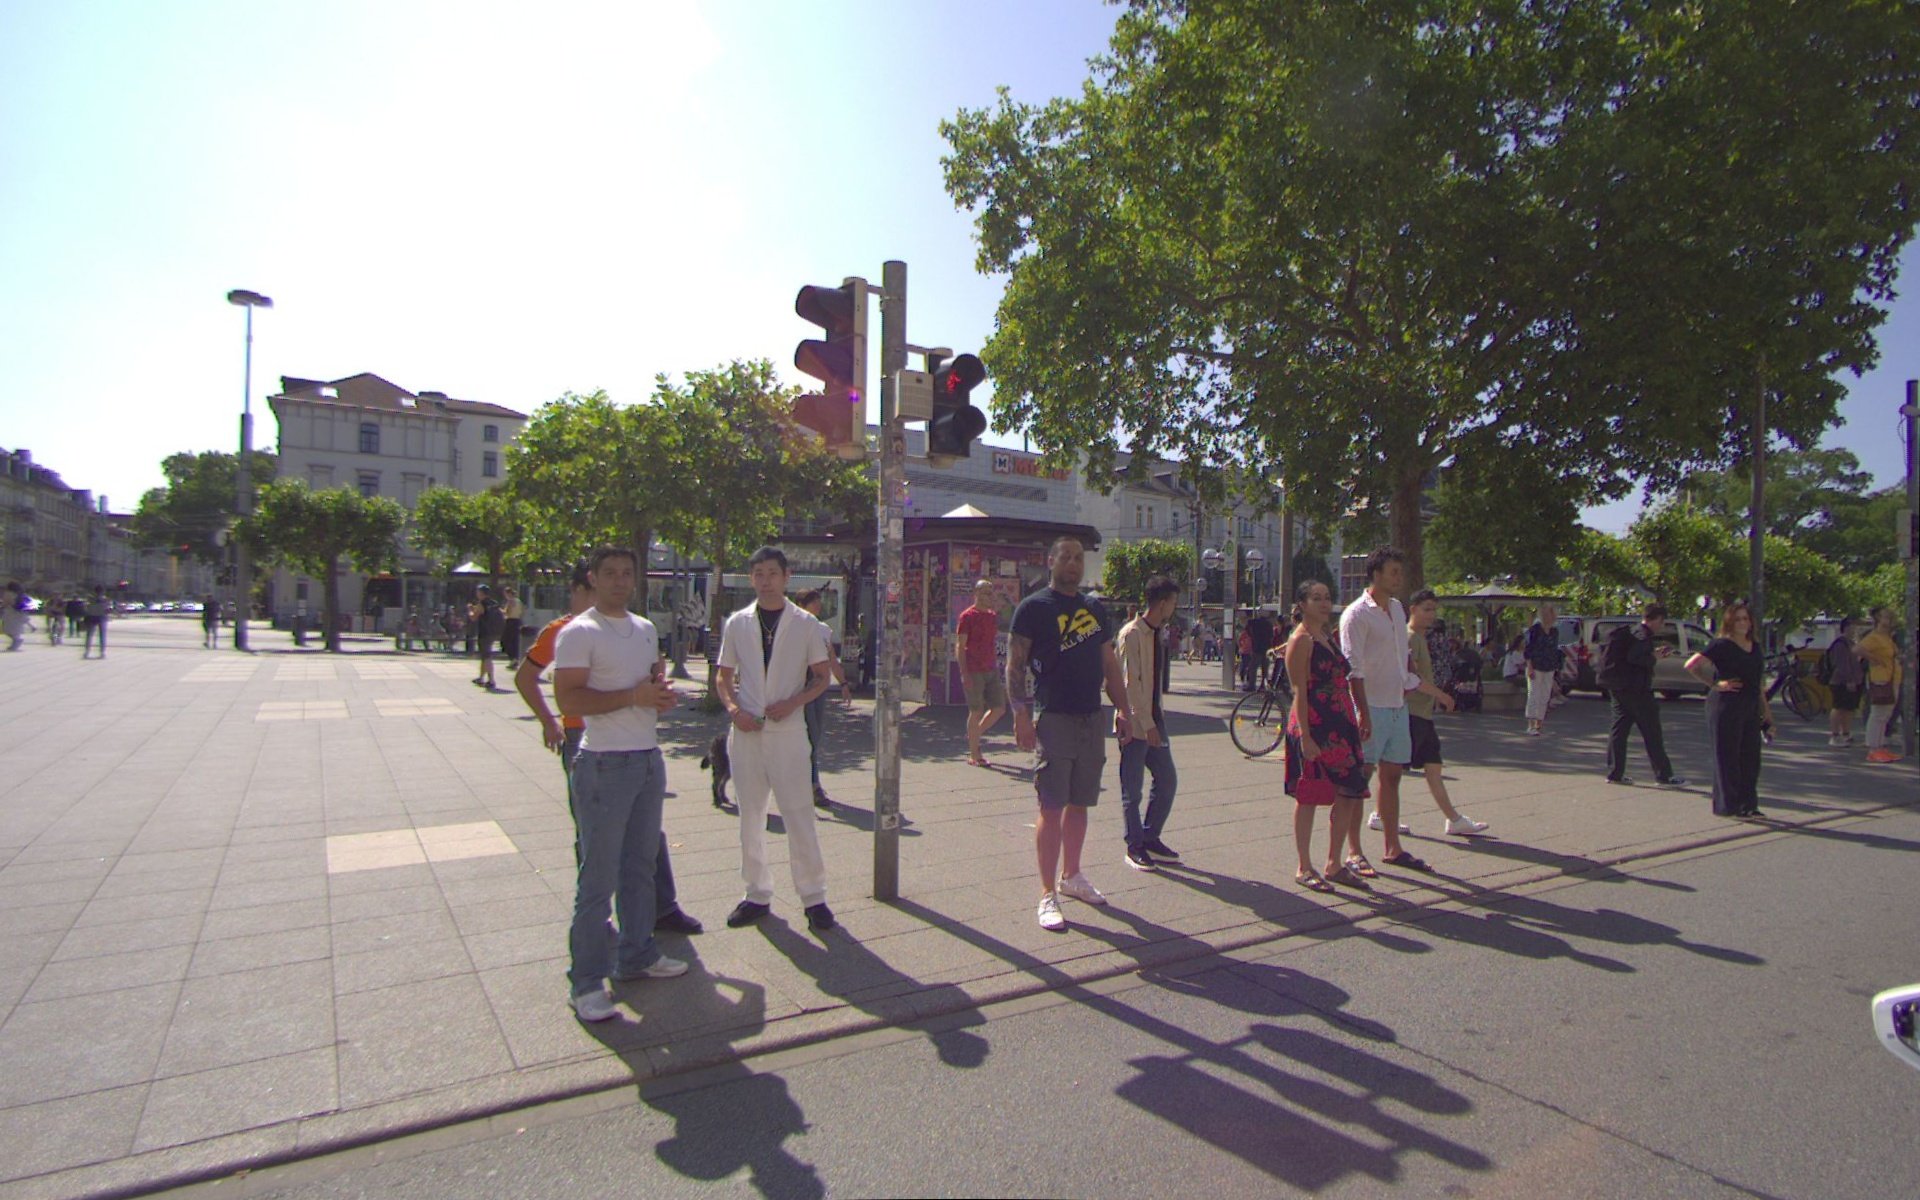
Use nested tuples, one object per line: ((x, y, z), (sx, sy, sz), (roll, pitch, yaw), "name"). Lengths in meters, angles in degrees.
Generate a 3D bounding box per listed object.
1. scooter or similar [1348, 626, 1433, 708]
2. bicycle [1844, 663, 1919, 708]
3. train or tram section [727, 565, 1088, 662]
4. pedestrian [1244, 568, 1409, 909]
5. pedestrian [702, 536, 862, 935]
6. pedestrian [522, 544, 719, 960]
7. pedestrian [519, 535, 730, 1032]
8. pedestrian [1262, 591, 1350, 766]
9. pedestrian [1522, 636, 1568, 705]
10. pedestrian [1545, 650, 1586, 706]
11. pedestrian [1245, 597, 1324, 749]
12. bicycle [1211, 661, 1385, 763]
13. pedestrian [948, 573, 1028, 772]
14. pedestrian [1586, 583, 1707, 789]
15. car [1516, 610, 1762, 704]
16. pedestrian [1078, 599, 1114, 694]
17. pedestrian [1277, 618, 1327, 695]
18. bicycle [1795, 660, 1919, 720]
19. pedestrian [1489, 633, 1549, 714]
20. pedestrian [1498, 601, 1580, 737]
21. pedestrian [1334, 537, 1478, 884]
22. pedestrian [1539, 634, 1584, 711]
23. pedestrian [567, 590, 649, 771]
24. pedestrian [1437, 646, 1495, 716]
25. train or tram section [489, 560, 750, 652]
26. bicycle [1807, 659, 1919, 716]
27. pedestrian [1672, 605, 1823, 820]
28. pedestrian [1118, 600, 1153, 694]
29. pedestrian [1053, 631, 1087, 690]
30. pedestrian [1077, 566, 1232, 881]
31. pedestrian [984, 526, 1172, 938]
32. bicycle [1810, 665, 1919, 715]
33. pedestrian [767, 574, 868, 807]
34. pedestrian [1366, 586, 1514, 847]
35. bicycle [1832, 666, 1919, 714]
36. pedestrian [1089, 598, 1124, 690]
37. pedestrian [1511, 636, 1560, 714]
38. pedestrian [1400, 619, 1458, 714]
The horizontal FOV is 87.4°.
((7.988, 1.224, 18.685), (1.018, 1.439, 1.281), (1, -1, 0), "scooter or similar")
((22.263, 2.020, 23.688), (0.679, 0.993, 2.064), (3, -2, -41), "bicycle")
((-2.226, 0.557, 43.622), (15.234, 3.725, 2.623), (1, -1, 4), "train or tram section")
((2.061, 0.737, 5.664), (0.630, 1.781, 0.574), (2, -1, -28), "pedestrian")
((-0.880, 0.620, 4.910), (0.598, 1.803, 0.538), (2, 0, -24), "pedestrian")
((-1.542, 0.635, 4.598), (0.531, 1.741, 0.605), (2, 0, 29), "pedestrian")
((-1.296, 0.652, 3.928), (0.422, 1.763, 0.605), (2, 0, 29), "pedestrian")
((3.703, 0.821, 10.769), (0.598, 1.803, 0.574), (2, 0, -24), "pedestrian")
((11.941, 1.434, 20.524), (0.690, 1.366, 0.511), (1, -1, 17), "pedestrian")
((12.587, 1.610, 20.894), (0.617, 1.108, 0.511), (1, -1, 17), "pedestrian")
((3.822, 0.843, 11.842), (0.597, 1.734, 0.574), (2, 0, -23), "pedestrian")
((3.735, 1.214, 11.094), (1.903, 1.042, 0.489), (1, -1, -18), "bicycle")
((0.270, 0.703, 10.024), (0.651, 1.904, 0.631), (2, 0, -7), "pedestrian")
((6.514, 0.803, 9.553), (0.674, 1.883, 0.634), (2, -1, -9), "pedestrian")
((15.568, 1.293, 23.124), (4.675, 1.981, 1.862), (2, -1, -9), "car")
((2.755, 0.936, 20.316), (0.556, 1.883, 0.509), (2, -1, -9), "pedestrian")
((6.855, 1.127, 20.157), (0.718, 1.498, 0.634), (2, -1, -9), "pedestrian")
((18.575, 1.829, 20.686), (0.679, 1.104, 2.064), (3, -2, -41), "bicycle")
((10.189, 1.328, 18.313), (0.659, 1.404, 0.725), (2, -1, -37), "pedestrian")
((8.031, 0.943, 13.950), (0.718, 1.834, 0.634), (2, -1, -9), "pedestrian")
((2.662, 0.630, 6.013), (0.553, 1.944, 0.529), (2, -1, -28), "pedestrian")
((11.500, 1.373, 19.220), (0.648, 1.404, 0.664), (1, -1, 26), "pedestrian")
((-3.165, 0.701, 9.010), (0.598, 1.553, 0.574), (2, 0, -24), "pedestrian")
((8.814, 1.406, 17.514), (0.653, 1.159, 0.634), (2, -1, -9), "pedestrian")
((-15.027, 0.270, 44.620), (10.779, 3.725, 2.623), (1, -1, 5), "train or tram section")
((19.585, 1.863, 21.564), (0.679, 1.104, 2.064), (3, -2, -41), "bicycle")
((6.197, 0.865, 7.931), (0.674, 1.616, 0.634), (2, -1, -9), "pedestrian")
((3.602, 0.953, 20.610), (0.537, 1.883, 0.504), (1, -1, 27), "pedestrian")
((2.247, 1.235, 20.600), (0.556, 1.174, 0.509), (2, -1, -9), "pedestrian")
((1.163, 0.701, 6.047), (0.645, 1.770, 0.573), (2, 0, -28), "pedestrian")
((0.588, 0.628, 5.076), (0.645, 1.915, 0.573), (3, 0, -28), "pedestrian")
((20.286, 1.983, 22.335), (0.679, 0.993, 2.064), (3, -2, -41), "bicycle")
((-1.137, 0.691, 7.969), (0.598, 1.762, 0.574), (2, 0, -24), "pedestrian")
((3.416, 0.791, 7.157), (0.779, 1.744, 0.581), (2, -1, -28), "pedestrian")
((21.327, 2.051, 22.950), (0.679, 0.993, 2.064), (3, -2, -41), "bicycle")
((3.071, 0.916, 21.013), (0.556, 1.883, 0.509), (2, -1, -9), "pedestrian")
((10.758, 1.388, 18.768), (0.651, 1.404, 0.661), (1, -1, 43), "pedestrian")
((8.092, 1.135, 17.351), (0.653, 1.586, 0.634), (2, -1, -9), "pedestrian")
